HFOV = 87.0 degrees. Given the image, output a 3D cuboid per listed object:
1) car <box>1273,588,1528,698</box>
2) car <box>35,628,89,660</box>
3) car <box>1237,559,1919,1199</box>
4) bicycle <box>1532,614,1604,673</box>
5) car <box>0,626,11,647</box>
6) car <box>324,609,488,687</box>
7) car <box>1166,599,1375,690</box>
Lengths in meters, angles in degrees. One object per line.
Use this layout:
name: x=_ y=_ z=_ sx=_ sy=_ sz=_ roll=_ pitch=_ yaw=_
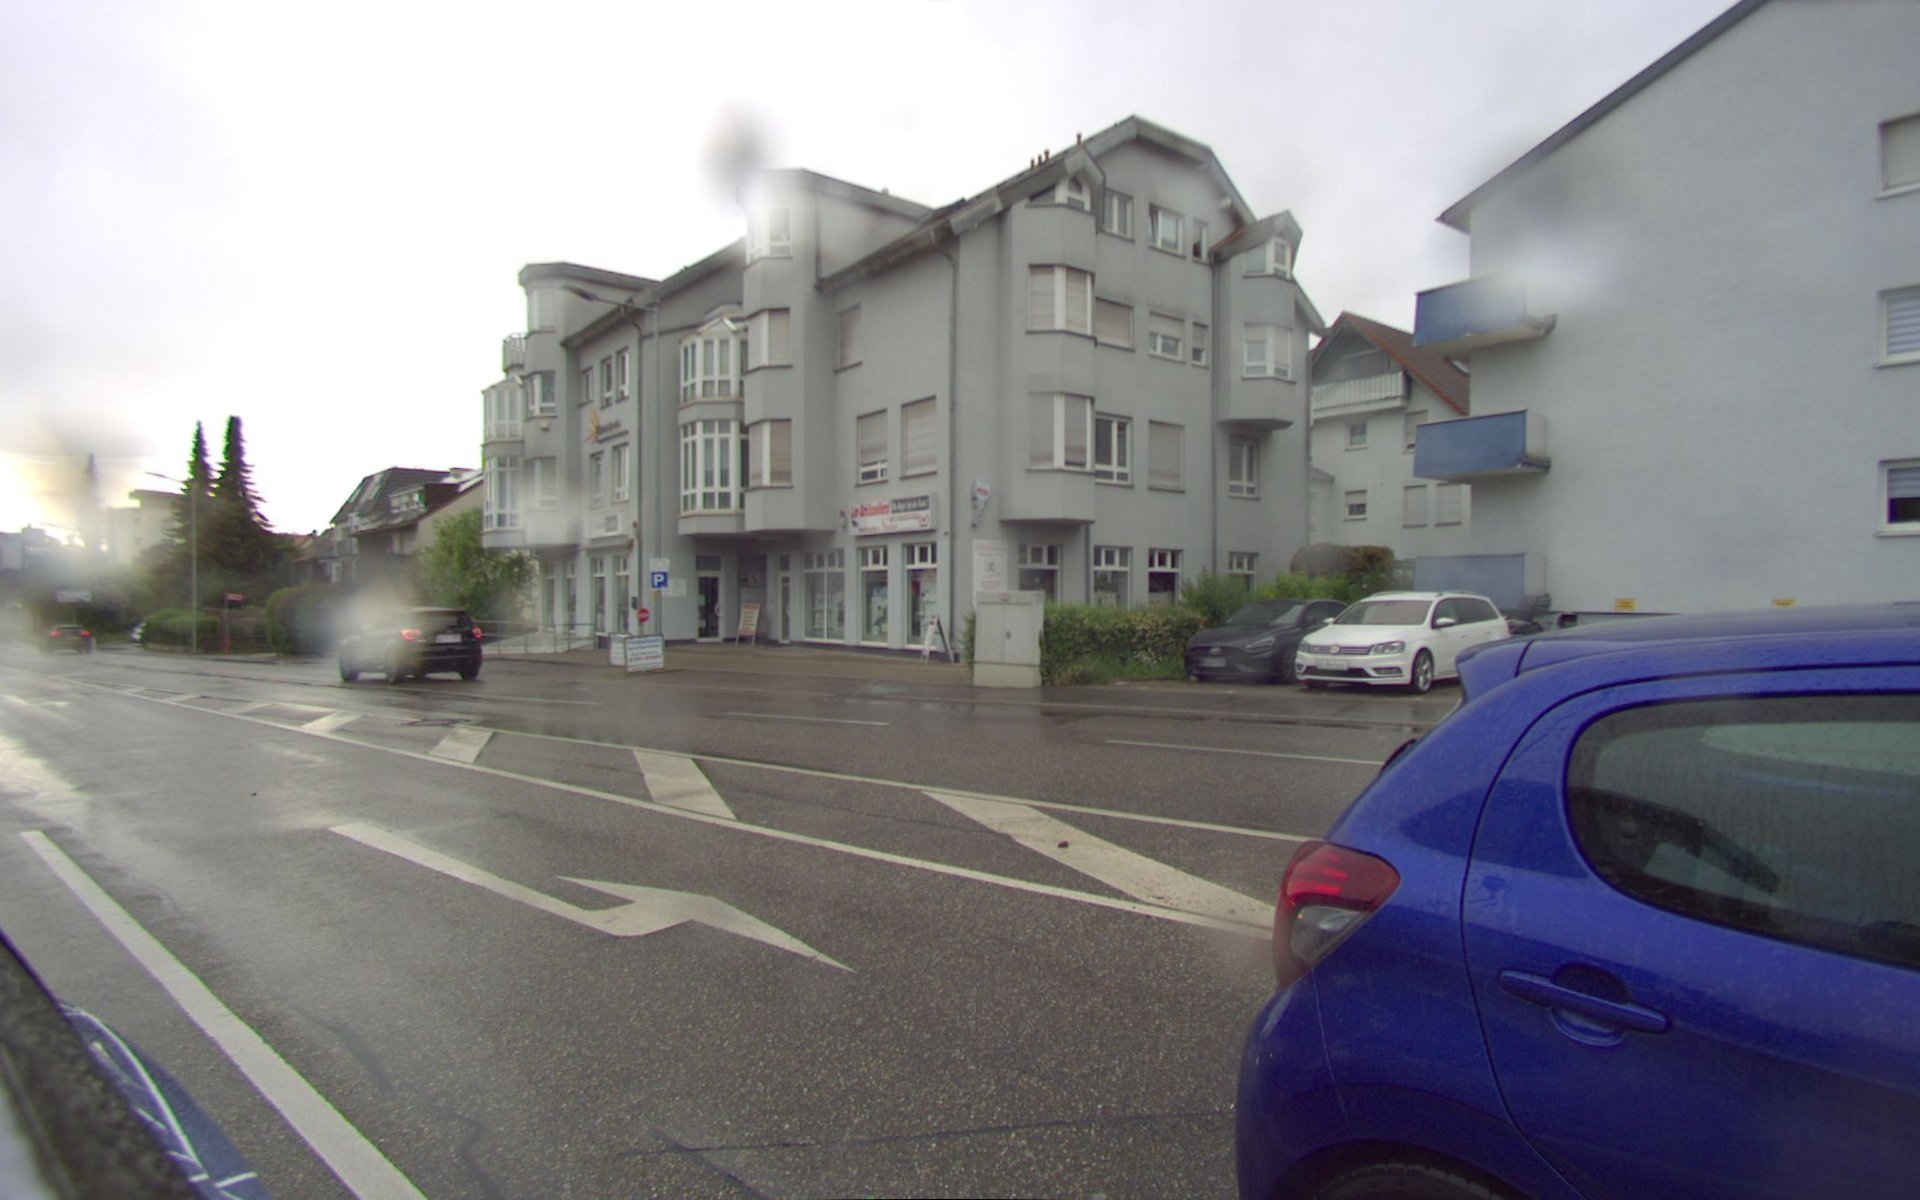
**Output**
car: x=6.985 y=0.605 z=15.806 sx=4.685 sy=1.471 sz=1.883 roll=0 pitch=-2 yaw=-42
car: x=-48.355 y=2.345 z=54.472 sx=4.002 sy=1.523 sz=1.945 roll=-1 pitch=0 yaw=45
car: x=2.240 y=0.634 z=1.197 sx=3.362 sy=1.423 sz=1.489 roll=-2 pitch=-1 yaw=41
bicycle: x=11.146 y=0.794 z=18.562 sx=1.065 sy=1.061 sz=0.343 roll=-2 pitch=-1 yaw=41
car: x=-76.598 y=2.929 z=79.894 sx=4.537 sy=1.637 sz=1.973 roll=-2 pitch=-1 yaw=41
car: x=-12.627 y=1.046 z=22.982 sx=4.180 sy=1.609 sz=1.860 roll=-2 pitch=-2 yaw=39
car: x=5.496 y=0.691 z=17.650 sx=1.851 sy=1.366 sz=3.941 roll=-1 pitch=0 yaw=45
